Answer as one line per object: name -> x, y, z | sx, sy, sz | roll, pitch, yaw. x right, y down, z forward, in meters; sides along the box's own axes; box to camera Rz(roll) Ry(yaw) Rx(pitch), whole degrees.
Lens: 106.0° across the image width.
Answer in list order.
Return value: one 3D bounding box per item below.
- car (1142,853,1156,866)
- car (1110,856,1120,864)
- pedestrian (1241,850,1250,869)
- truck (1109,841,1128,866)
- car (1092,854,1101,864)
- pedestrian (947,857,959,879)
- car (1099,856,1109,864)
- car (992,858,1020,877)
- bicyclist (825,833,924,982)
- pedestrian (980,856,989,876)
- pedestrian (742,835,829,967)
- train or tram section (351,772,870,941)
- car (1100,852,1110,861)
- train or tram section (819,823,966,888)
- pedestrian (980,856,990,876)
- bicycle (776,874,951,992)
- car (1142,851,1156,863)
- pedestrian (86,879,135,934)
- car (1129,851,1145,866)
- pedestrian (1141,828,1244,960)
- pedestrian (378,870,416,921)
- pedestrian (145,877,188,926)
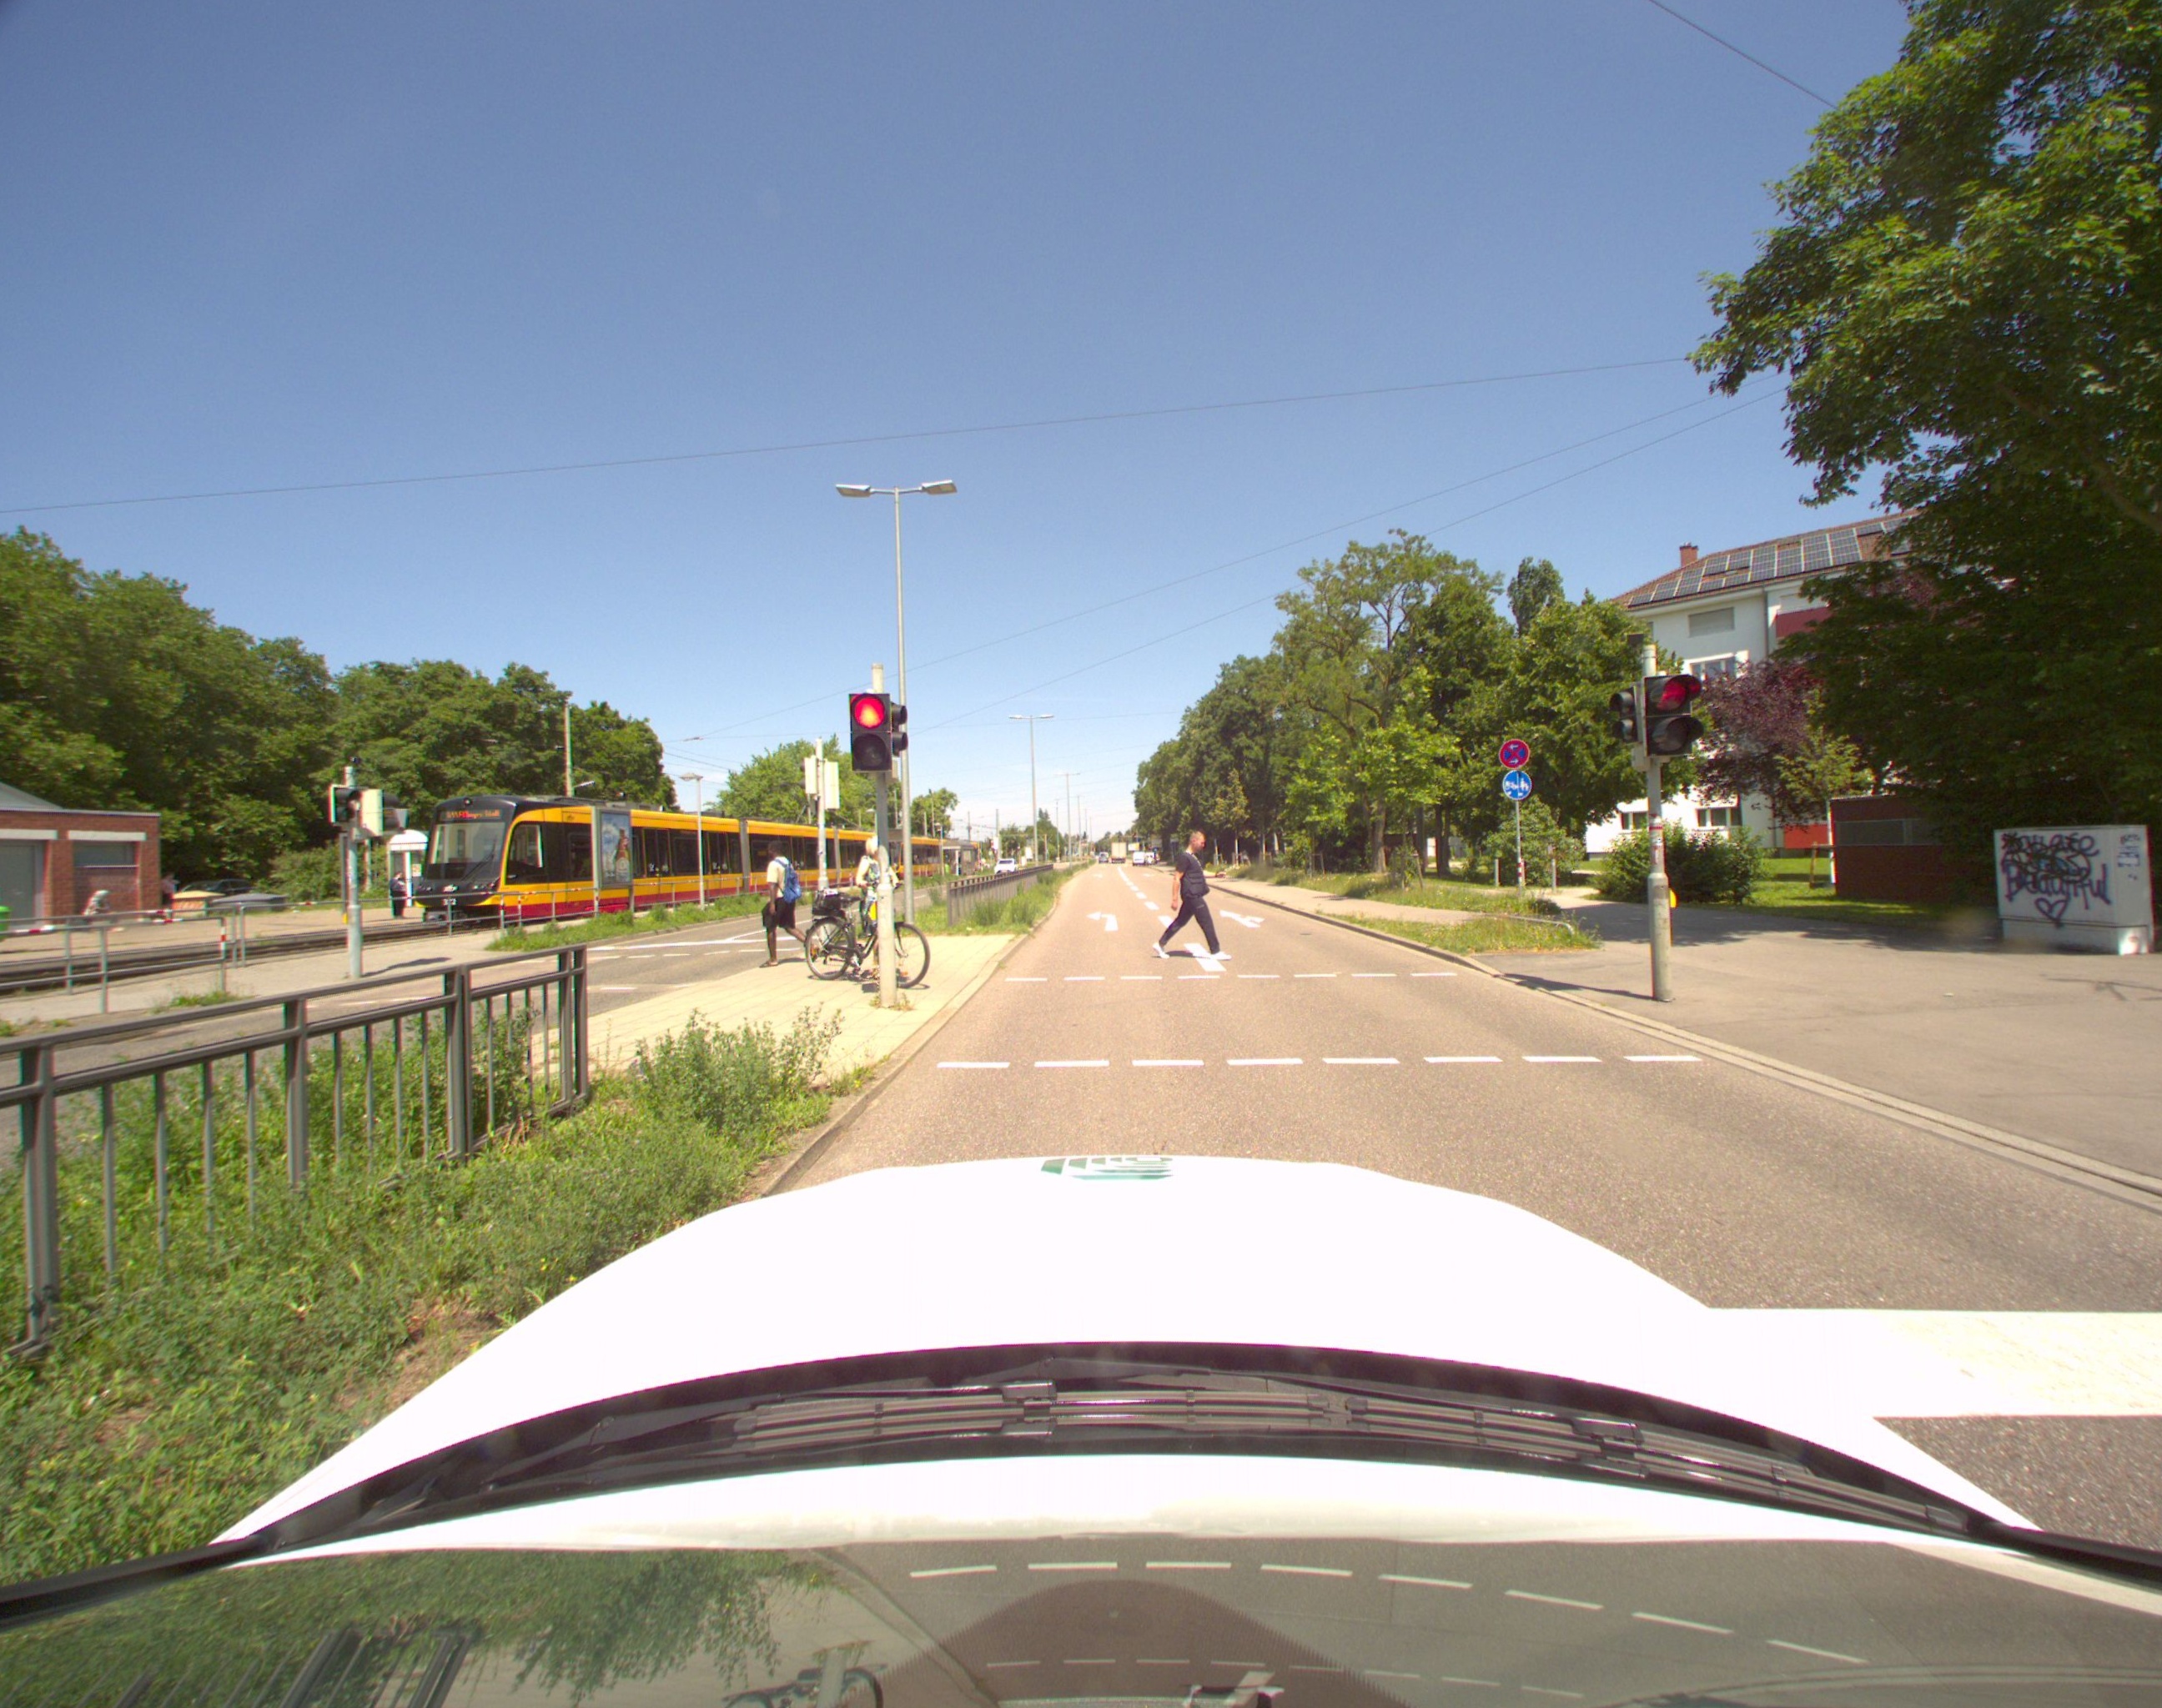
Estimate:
car -> 9.386, 0.716, 112.422 | 1.773, 1.668, 4.002 | -2, 0, 2
car -> 6.488, 1.142, 153.690 | 1.804, 1.464, 4.002 | -2, 0, 2
pedestrian -> 12.154, 0.399, 60.114 | 0.600, 1.438, 0.557 | -2, 0, 8
truck -> 6.777, -0.084, 146.194 | 3.193, 4.359, 6.563 | -2, 0, 2
car -> 3.327, 1.094, 175.334 | 1.986, 2.013, 4.002 | -2, 0, 2
pedestrian -> -10.979, 1.198, 69.731 | 0.783, 1.868, 0.818 | -2, 0, 1
car -> 4.265, 1.099, 149.773 | 1.804, 1.464, 4.002 | -2, 0, 2
car -> -6.378, 1.145, 69.492 | 1.838, 1.494, 3.793 | -2, 0, 2
bicyclist -> -2.434, 0.597, 9.624 | 0.949, 1.666, 0.583 | 1, 2, 19
pedestrian -> -10.130, 1.249, 85.368 | 0.812, 2.013, 0.939 | -2, 0, 1
pedestrian -> -4.218, 0.652, 11.686 | 0.837, 1.777, 0.720 | -4, 2, 1
train or tram section -> -14.578, 0.050, 33.496 | 2.946, 3.749, 30.044 | -2, 0, 2
car -> 4.886, 0.552, 163.584 | 1.986, 1.816, 4.001 | 0, -1, 2
train or tram section -> -13.552, 0.067, 65.051 | 2.920, 3.789, 33.100 | -2, 0, 2
pedestrian -> -9.910, 1.237, 84.068 | 0.812, 2.013, 0.939 | -2, 0, 1
bicycle -> -2.474, 0.862, 9.246 | 1.941, 1.161, 0.544 | 2, 2, 19
car -> 9.908, 0.458, 118.763 | 1.773, 1.668, 4.002 | -2, 0, 2
pedestrian -> -26.680, 1.435, 22.385 | 0.636, 1.480, 0.570 | -2, 0, 1
car -> 7.241, 0.560, 105.609 | 1.773, 1.903, 4.002 | -2, 0, 2
pedestrian -> 1.591, 0.554, 11.599 | 1.173, 1.778, 0.845 | -2, -2, 32
pedestrian -> -21.542, 1.288, 25.665 | 0.635, 1.555, 0.691 | -2, 0, -11
pedestrian -> -27.878, 1.435, 24.826 | 0.635, 1.456, 0.584 | -2, 0, 8
